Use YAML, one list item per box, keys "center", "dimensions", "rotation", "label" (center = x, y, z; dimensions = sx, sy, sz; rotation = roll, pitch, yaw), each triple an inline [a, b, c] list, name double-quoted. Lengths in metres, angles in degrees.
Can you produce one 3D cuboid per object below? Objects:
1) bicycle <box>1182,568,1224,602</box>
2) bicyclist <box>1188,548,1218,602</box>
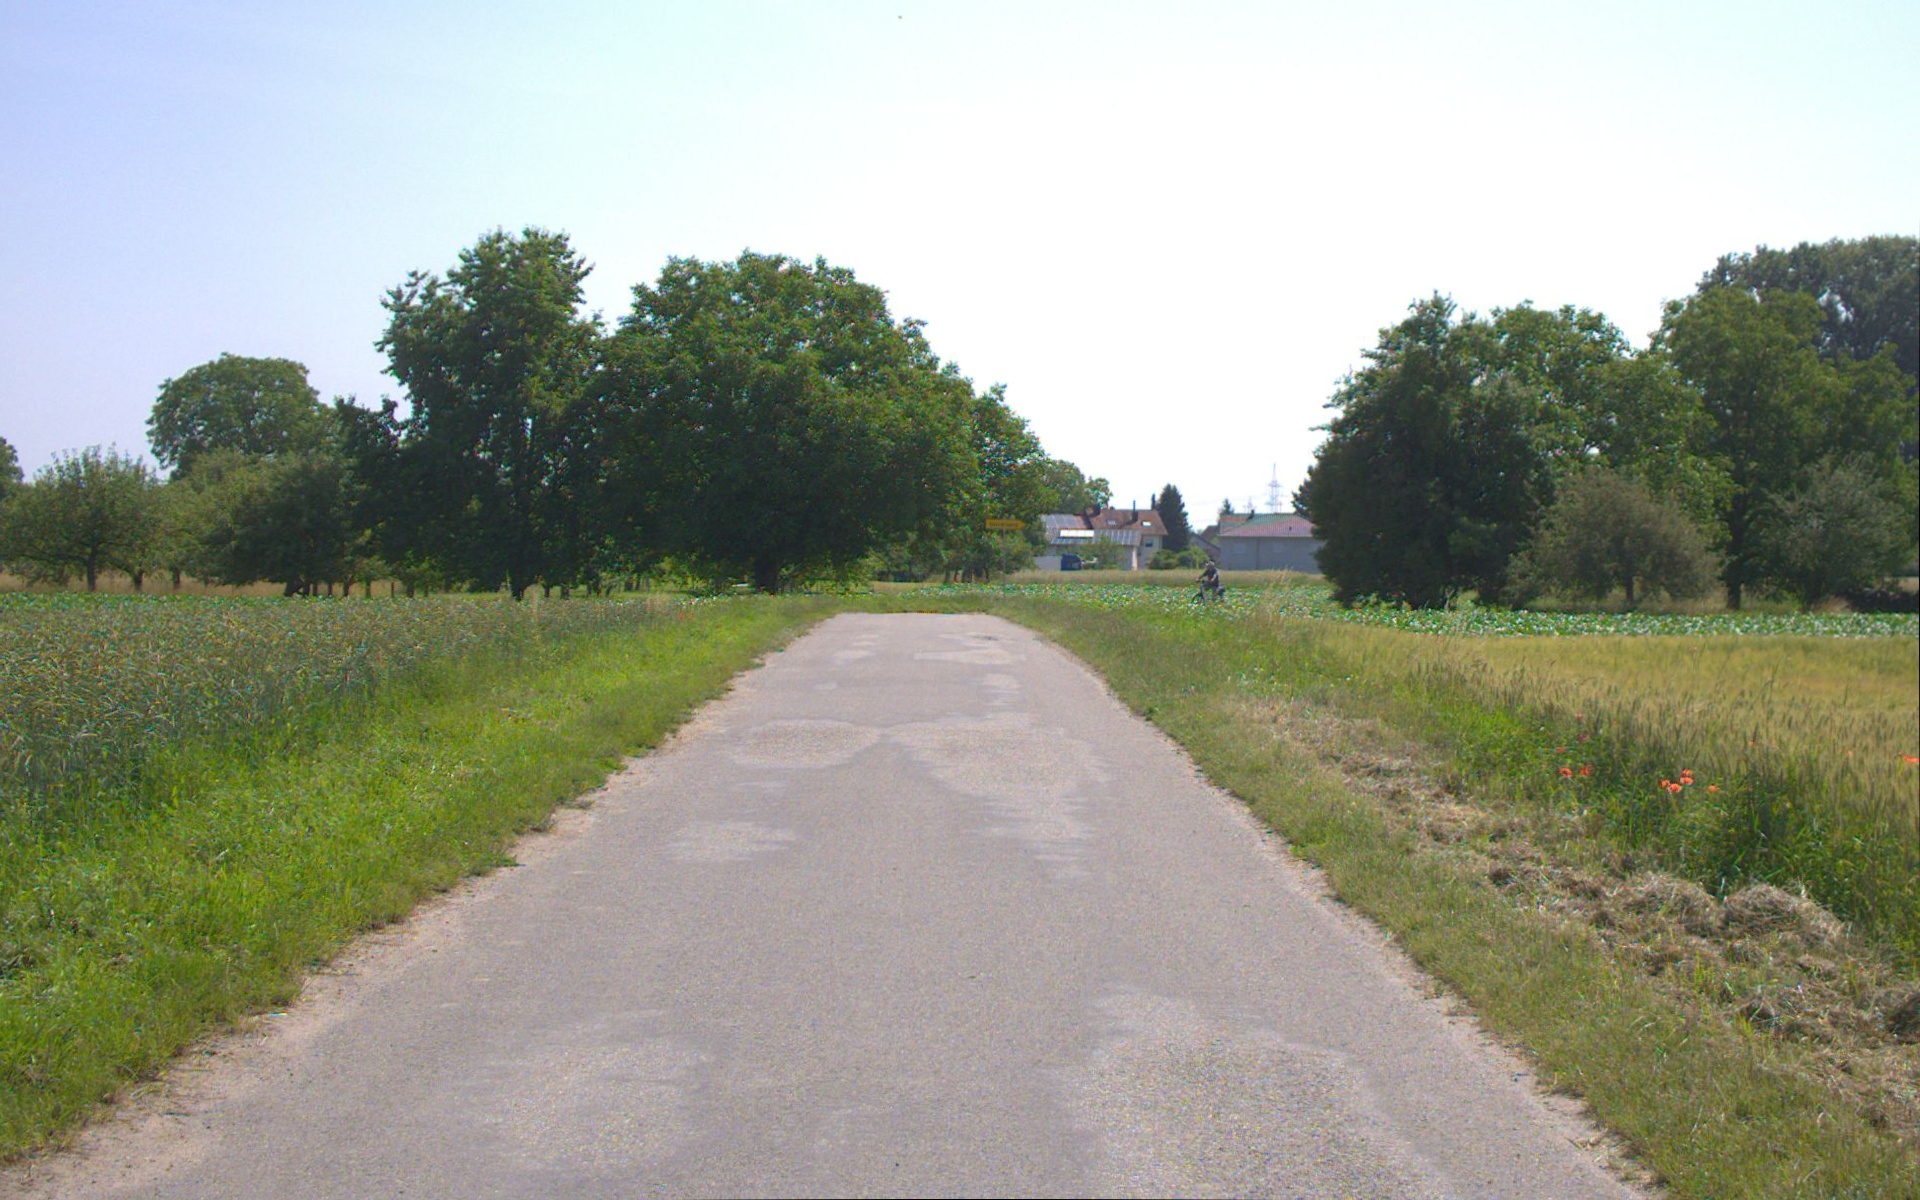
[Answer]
- center: [8.209, -0.517, 116.133]
  dimensions: [0.751, 1.123, 1.906]
  rotation: [-1, 0, 26]
  label: "bicycle"
- center: [8.207, -0.848, 116.135]
  dimensions: [0.751, 1.785, 0.716]
  rotation: [-1, 0, 26]
  label: "bicyclist"
